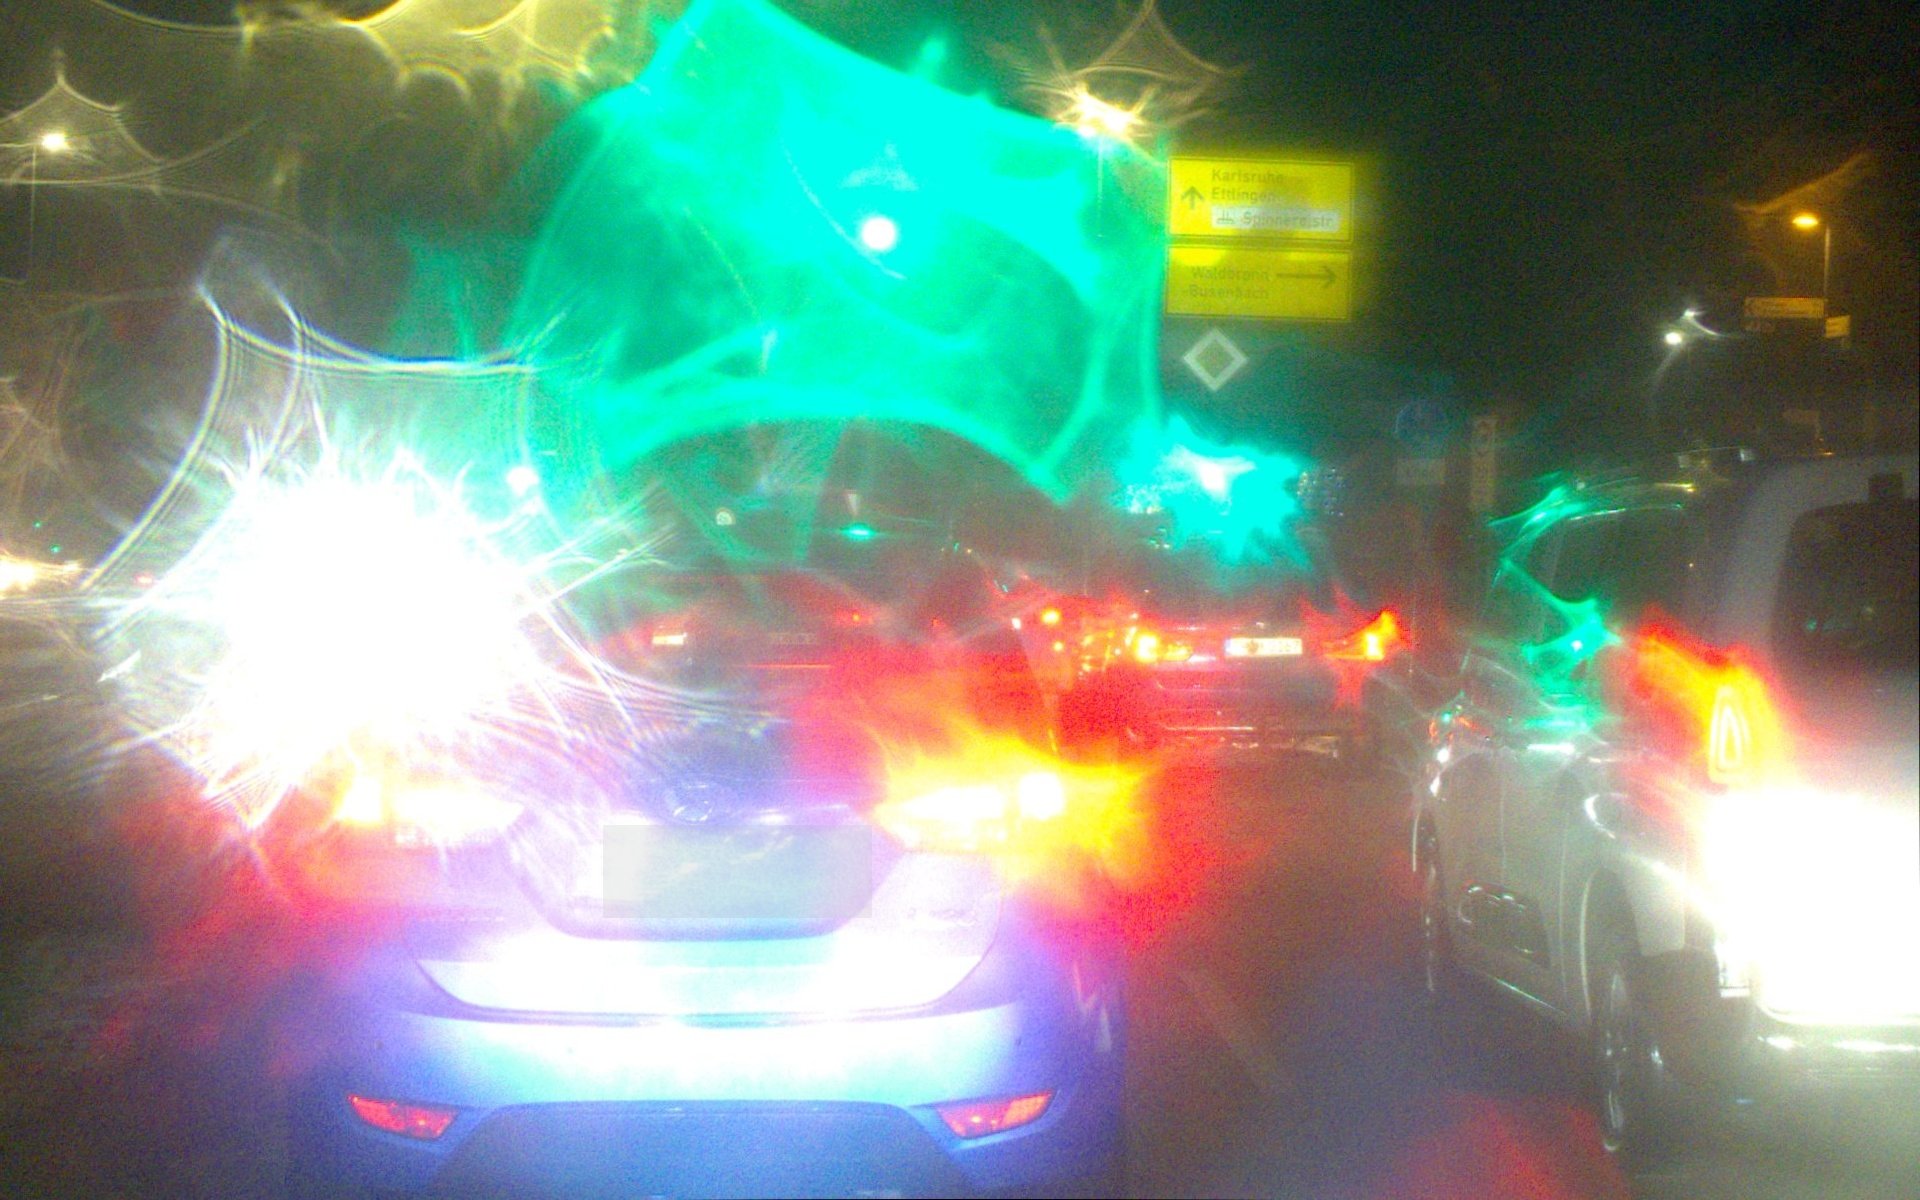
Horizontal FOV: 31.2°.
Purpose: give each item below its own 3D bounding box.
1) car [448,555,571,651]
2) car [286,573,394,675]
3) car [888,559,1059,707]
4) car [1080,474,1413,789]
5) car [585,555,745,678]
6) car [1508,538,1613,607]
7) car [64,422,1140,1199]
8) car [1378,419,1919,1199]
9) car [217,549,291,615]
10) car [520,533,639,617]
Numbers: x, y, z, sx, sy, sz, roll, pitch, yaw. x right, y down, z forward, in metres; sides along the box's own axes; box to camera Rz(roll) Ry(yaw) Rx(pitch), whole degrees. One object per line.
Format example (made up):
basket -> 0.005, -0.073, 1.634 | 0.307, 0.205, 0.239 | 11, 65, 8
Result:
car -> -9.050, 0.041, 68.901 | 1.993, 1.818, 4.001 | 1, 0, -14
car -> -12.837, 0.462, 71.007 | 2.014, 1.880, 4.453 | 2, 2, -12
car -> 0.134, 0.382, 42.664 | 1.993, 1.712, 4.000 | 1, 0, -1
car -> 1.964, 0.194, 24.699 | 1.968, 2.040, 4.000 | 1, 0, -1
car -> -4.416, 0.220, 50.960 | 1.993, 1.726, 4.001 | 1, 0, -10
car -> 14.937, -0.684, 85.738 | 1.865, 1.641, 3.963 | -1, 0, 0
car -> -0.878, 0.522, 8.775 | 2.014, 1.711, 4.452 | 1, 0, -5
car -> 2.432, 0.531, 9.854 | 1.851, 1.858, 4.341 | 1, 0, -1
car -> -22.259, -0.579, 108.299 | 1.993, 2.007, 4.001 | 1, 0, -15
car -> -8.668, -0.574, 78.126 | 1.993, 1.814, 4.001 | 1, 0, -16
